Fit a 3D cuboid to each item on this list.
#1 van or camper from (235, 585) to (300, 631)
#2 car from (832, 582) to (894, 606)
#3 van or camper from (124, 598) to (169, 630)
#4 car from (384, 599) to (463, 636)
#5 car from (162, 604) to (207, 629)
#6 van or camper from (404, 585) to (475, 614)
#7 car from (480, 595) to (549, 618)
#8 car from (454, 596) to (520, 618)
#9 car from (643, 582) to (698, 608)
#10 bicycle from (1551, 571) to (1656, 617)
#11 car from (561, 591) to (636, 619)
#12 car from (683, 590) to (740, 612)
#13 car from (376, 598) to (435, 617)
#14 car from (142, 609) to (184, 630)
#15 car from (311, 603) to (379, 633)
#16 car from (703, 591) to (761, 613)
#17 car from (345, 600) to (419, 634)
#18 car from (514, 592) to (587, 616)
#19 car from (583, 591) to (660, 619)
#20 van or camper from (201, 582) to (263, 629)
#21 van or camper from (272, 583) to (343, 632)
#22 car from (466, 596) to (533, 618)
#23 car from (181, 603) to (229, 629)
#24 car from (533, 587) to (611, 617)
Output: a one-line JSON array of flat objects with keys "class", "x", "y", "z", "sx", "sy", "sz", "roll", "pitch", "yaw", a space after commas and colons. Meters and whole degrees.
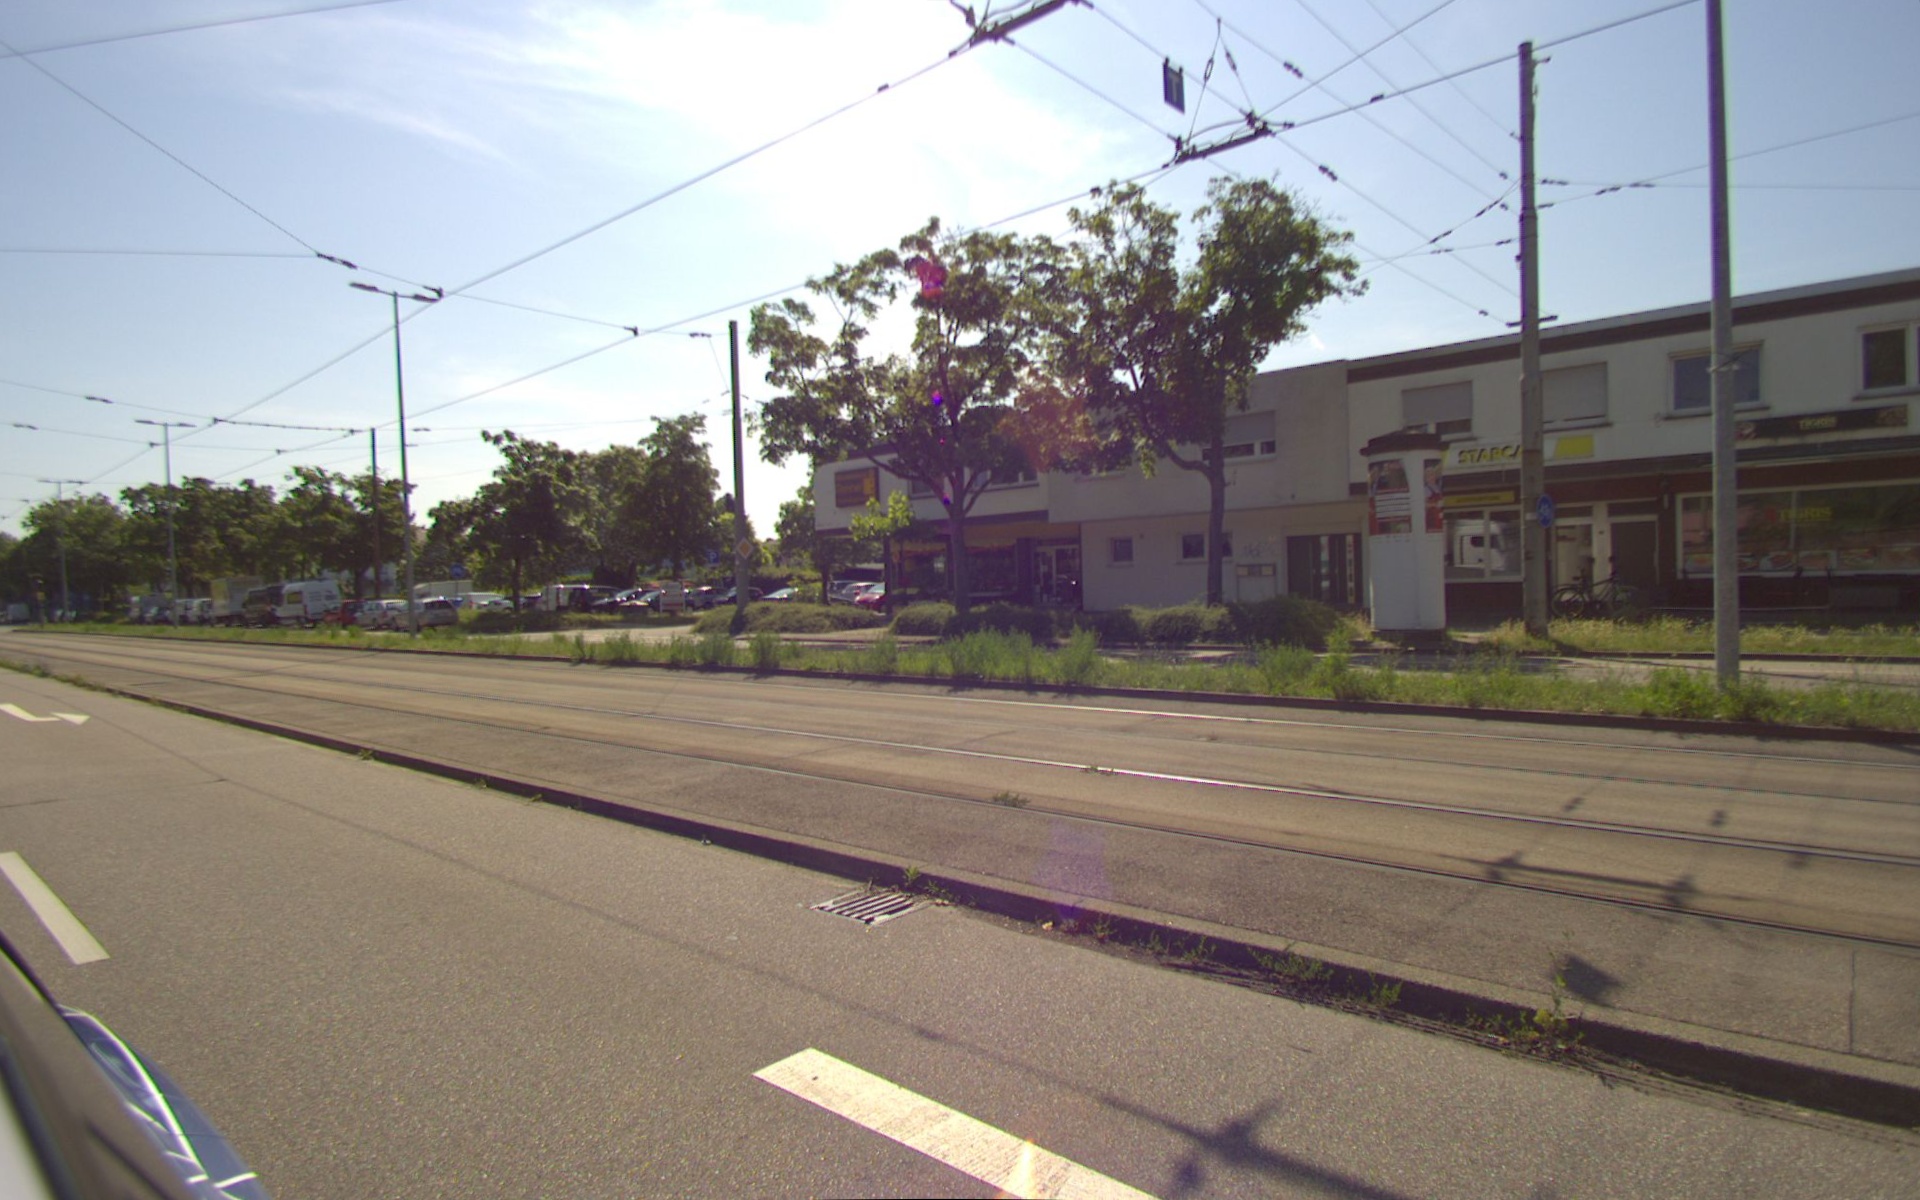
[{"class": "van or camper", "x": -42.494, "y": 0.486, "z": 62.076, "sx": 4.836, "sy": 2.652, "sz": 2.014, "roll": -1, "pitch": 1, "yaw": 41}, {"class": "car", "x": -5.842, "y": -0.367, "z": 61.332, "sx": 1.710, "sy": 1.372, "sz": 3.580, "roll": -1, "pitch": 1, "yaw": 39}, {"class": "van or camper", "x": -69.482, "y": 1.150, "z": 86.427, "sx": 5.450, "sy": 2.639, "sz": 2.087, "roll": -1, "pitch": 0, "yaw": 41}, {"class": "car", "x": -25.163, "y": 0.831, "z": 47.412, "sx": 4.285, "sy": 1.506, "sz": 1.868, "roll": -1, "pitch": 4, "yaw": 43}, {"class": "car", "x": -59.743, "y": 1.263, "z": 77.939, "sx": 4.229, "sy": 1.781, "sz": 1.869, "roll": -1, "pitch": 1, "yaw": 41}, {"class": "van or camper", "x": -53.065, "y": -0.108, "z": 103.254, "sx": 2.299, "sy": 2.751, "sz": 6.002, "roll": -1, "pitch": 1, "yaw": 43}, {"class": "car", "x": -28.053, "y": 0.405, "z": 63.786, "sx": 1.811, "sy": 1.291, "sz": 3.580, "roll": -1, "pitch": 1, "yaw": 39}, {"class": "car", "x": -31.555, "y": 0.450, "z": 67.624, "sx": 1.710, "sy": 1.291, "sz": 3.580, "roll": -1, "pitch": 1, "yaw": 39}, {"class": "car", "x": -21.264, "y": -0.381, "z": 74.396, "sx": 1.710, "sy": 1.791, "sz": 3.580, "roll": -1, "pitch": 1, "yaw": 39}, {"class": "bicycle", "x": 14.644, "y": -0.129, "z": 23.050, "sx": 1.910, "sy": 0.990, "sz": 0.750, "roll": -1, "pitch": 1, "yaw": 41}, {"class": "car", "x": -20.178, "y": 0.268, "z": 56.575, "sx": 1.710, "sy": 1.372, "sz": 3.580, "roll": -1, "pitch": 1, "yaw": 39}, {"class": "car", "x": -17.479, "y": 0.065, "z": 71.227, "sx": 1.710, "sy": 1.372, "sz": 3.580, "roll": -1, "pitch": 1, "yaw": 39}, {"class": "car", "x": -42.347, "y": 0.587, "z": 77.286, "sx": 1.710, "sy": 1.291, "sz": 3.580, "roll": -1, "pitch": 1, "yaw": 39}, {"class": "car", "x": -64.384, "y": 1.580, "z": 81.731, "sx": 4.229, "sy": 1.572, "sz": 1.869, "roll": -1, "pitch": 1, "yaw": 41}, {"class": "car", "x": -33.161, "y": 0.969, "z": 54.516, "sx": 4.229, "sy": 1.506, "sz": 1.869, "roll": -1, "pitch": 1, "yaw": 41}, {"class": "car", "x": -15.639, "y": 0.155, "z": 69.387, "sx": 1.710, "sy": 1.372, "sz": 3.580, "roll": -1, "pitch": 1, "yaw": 39}, {"class": "car", "x": -29.201, "y": 0.852, "z": 51.064, "sx": 4.282, "sy": 1.572, "sz": 1.869, "roll": -1, "pitch": 1, "yaw": 41}, {"class": "car", "x": -24.019, "y": 0.220, "z": 59.454, "sx": 1.710, "sy": 1.294, "sz": 3.580, "roll": -1, "pitch": 1, "yaw": 39}, {"class": "car", "x": -18.226, "y": 0.243, "z": 54.636, "sx": 1.710, "sy": 1.372, "sz": 3.580, "roll": -1, "pitch": 1, "yaw": 39}, {"class": "van or camper", "x": -48.433, "y": 0.384, "z": 67.275, "sx": 5.278, "sy": 3.007, "sz": 2.101, "roll": -1, "pitch": 1, "yaw": 41}, {"class": "van or camper", "x": -37.108, "y": 0.418, "z": 57.525, "sx": 4.836, "sy": 2.652, "sz": 2.014, "roll": -1, "pitch": 1, "yaw": 41}, {"class": "car", "x": -29.953, "y": 0.431, "z": 65.929, "sx": 1.710, "sy": 1.291, "sz": 3.580, "roll": -1, "pitch": 1, "yaw": 39}, {"class": "car", "x": -54.655, "y": 1.169, "z": 73.219, "sx": 4.229, "sy": 1.747, "sz": 1.869, "roll": -1, "pitch": 1, "yaw": 41}, {"class": "car", "x": -22.209, "y": 0.112, "z": 57.998, "sx": 1.949, "sy": 1.581, "sz": 3.703, "roll": -1, "pitch": 1, "yaw": 39}]
